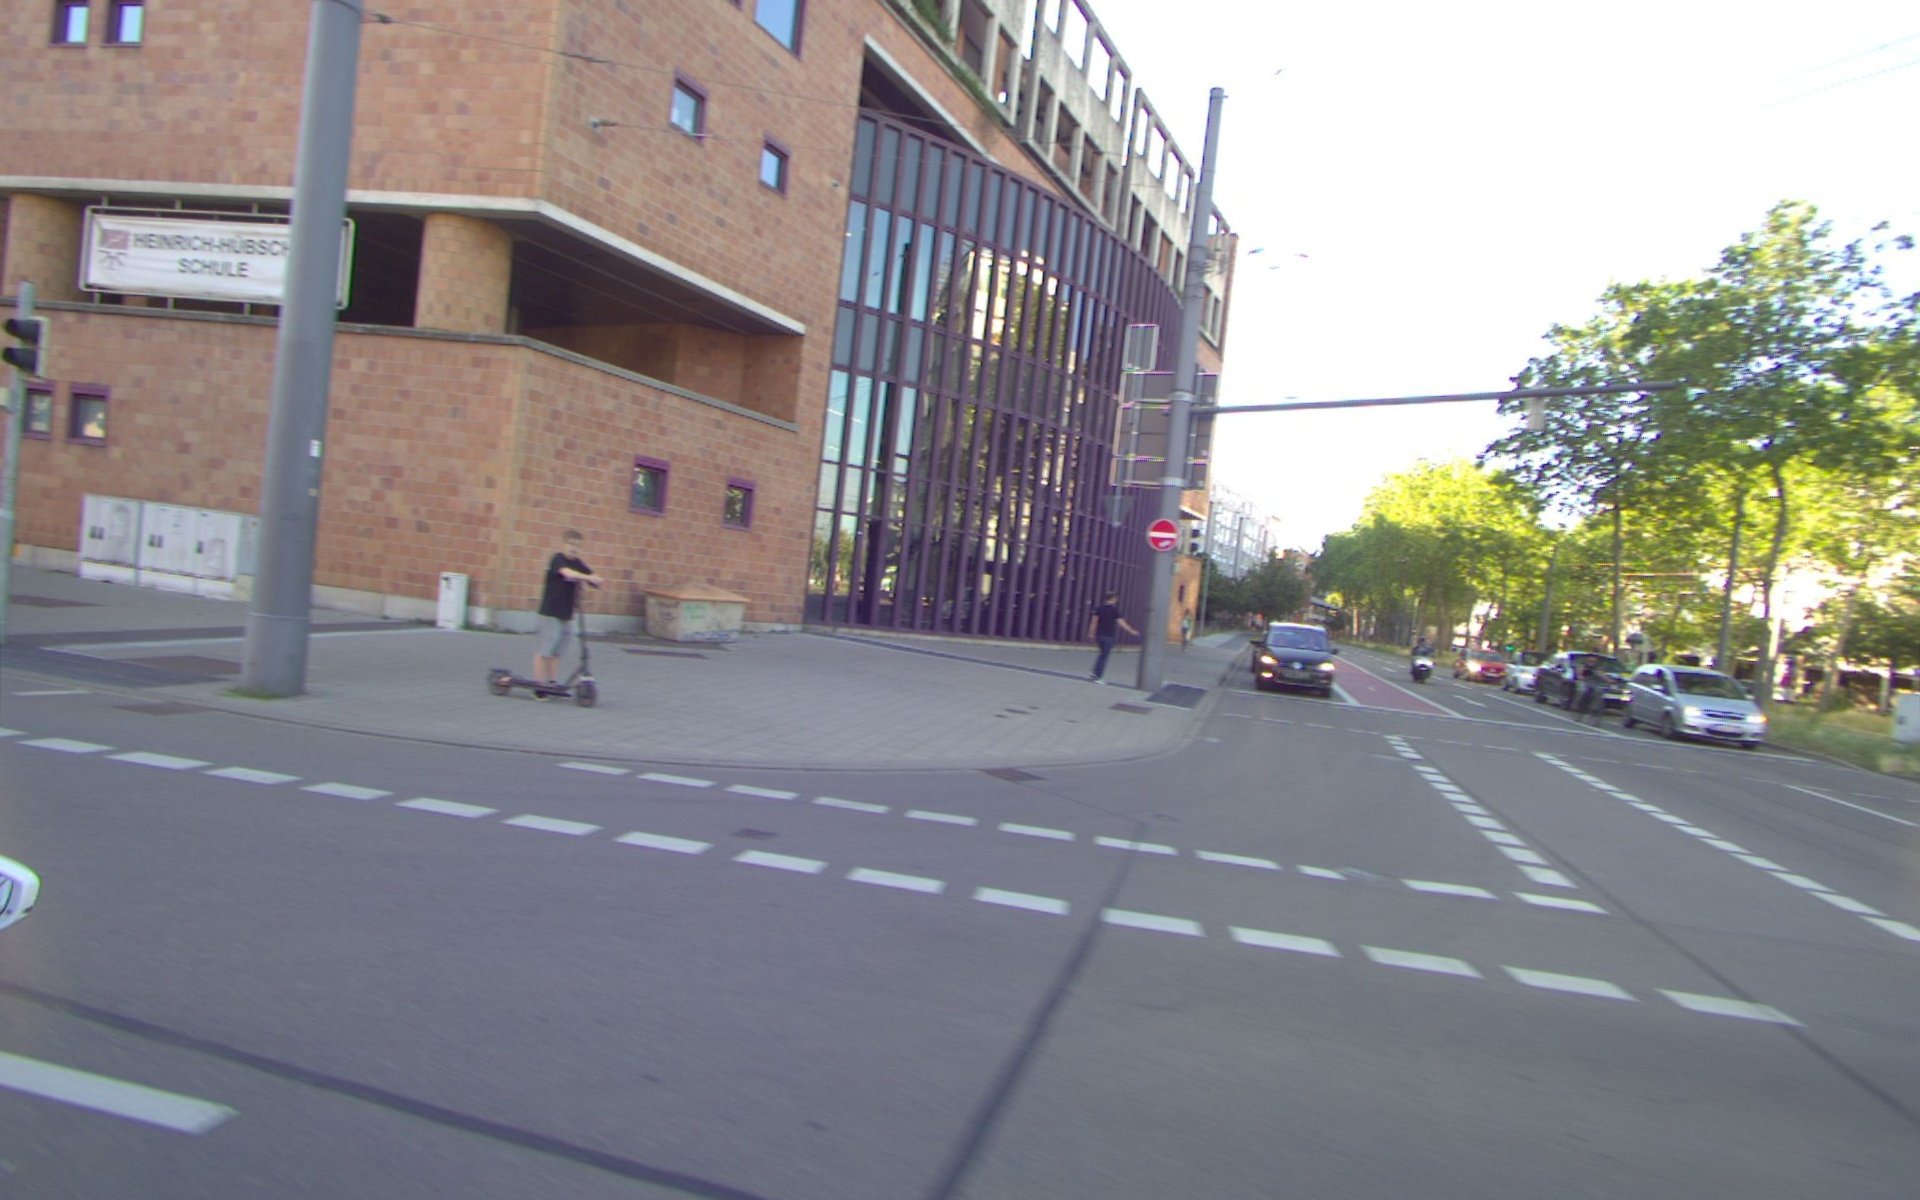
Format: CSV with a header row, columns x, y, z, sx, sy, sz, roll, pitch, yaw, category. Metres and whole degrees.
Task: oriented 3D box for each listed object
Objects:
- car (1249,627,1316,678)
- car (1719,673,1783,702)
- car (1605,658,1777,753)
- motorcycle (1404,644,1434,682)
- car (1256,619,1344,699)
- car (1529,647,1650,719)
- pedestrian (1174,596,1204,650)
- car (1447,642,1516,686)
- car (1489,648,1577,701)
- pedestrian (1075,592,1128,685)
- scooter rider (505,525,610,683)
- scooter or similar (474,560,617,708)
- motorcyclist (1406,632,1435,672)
x,y,z,sx,sy,sz,roll,pitch,yaw,category
10.944,1.724,34.188,1.886,1.393,3.999,7,1,18,car
55.818,6.135,71.076,2.228,1.572,4.322,7,1,21,car
16.448,2.293,22.912,1.703,1.617,4.324,7,1,17,car
17.175,2.342,37.680,0.837,1.275,2.029,8,1,24,motorcycle
8.647,1.432,25.778,1.805,1.675,4.499,6,1,17,car
18.535,2.385,29.840,1.825,1.672,4.324,7,1,17,car
9.085,0.923,39.938,0.882,2.040,0.758,7,2,15,pedestrian
23.025,2.801,44.608,1.825,1.572,4.324,7,1,17,car
21.387,2.741,37.725,1.825,1.572,4.324,7,1,17,car
2.816,0.759,19.974,0.808,1.738,0.664,7,2,13,pedestrian
-4.052,0.040,10.148,0.708,1.480,0.507,6,2,8,scooter rider
-4.180,0.331,10.167,1.111,1.335,0.529,6,2,7,scooter or similar
17.297,1.935,37.793,0.807,1.371,0.748,8,2,24,motorcyclist
